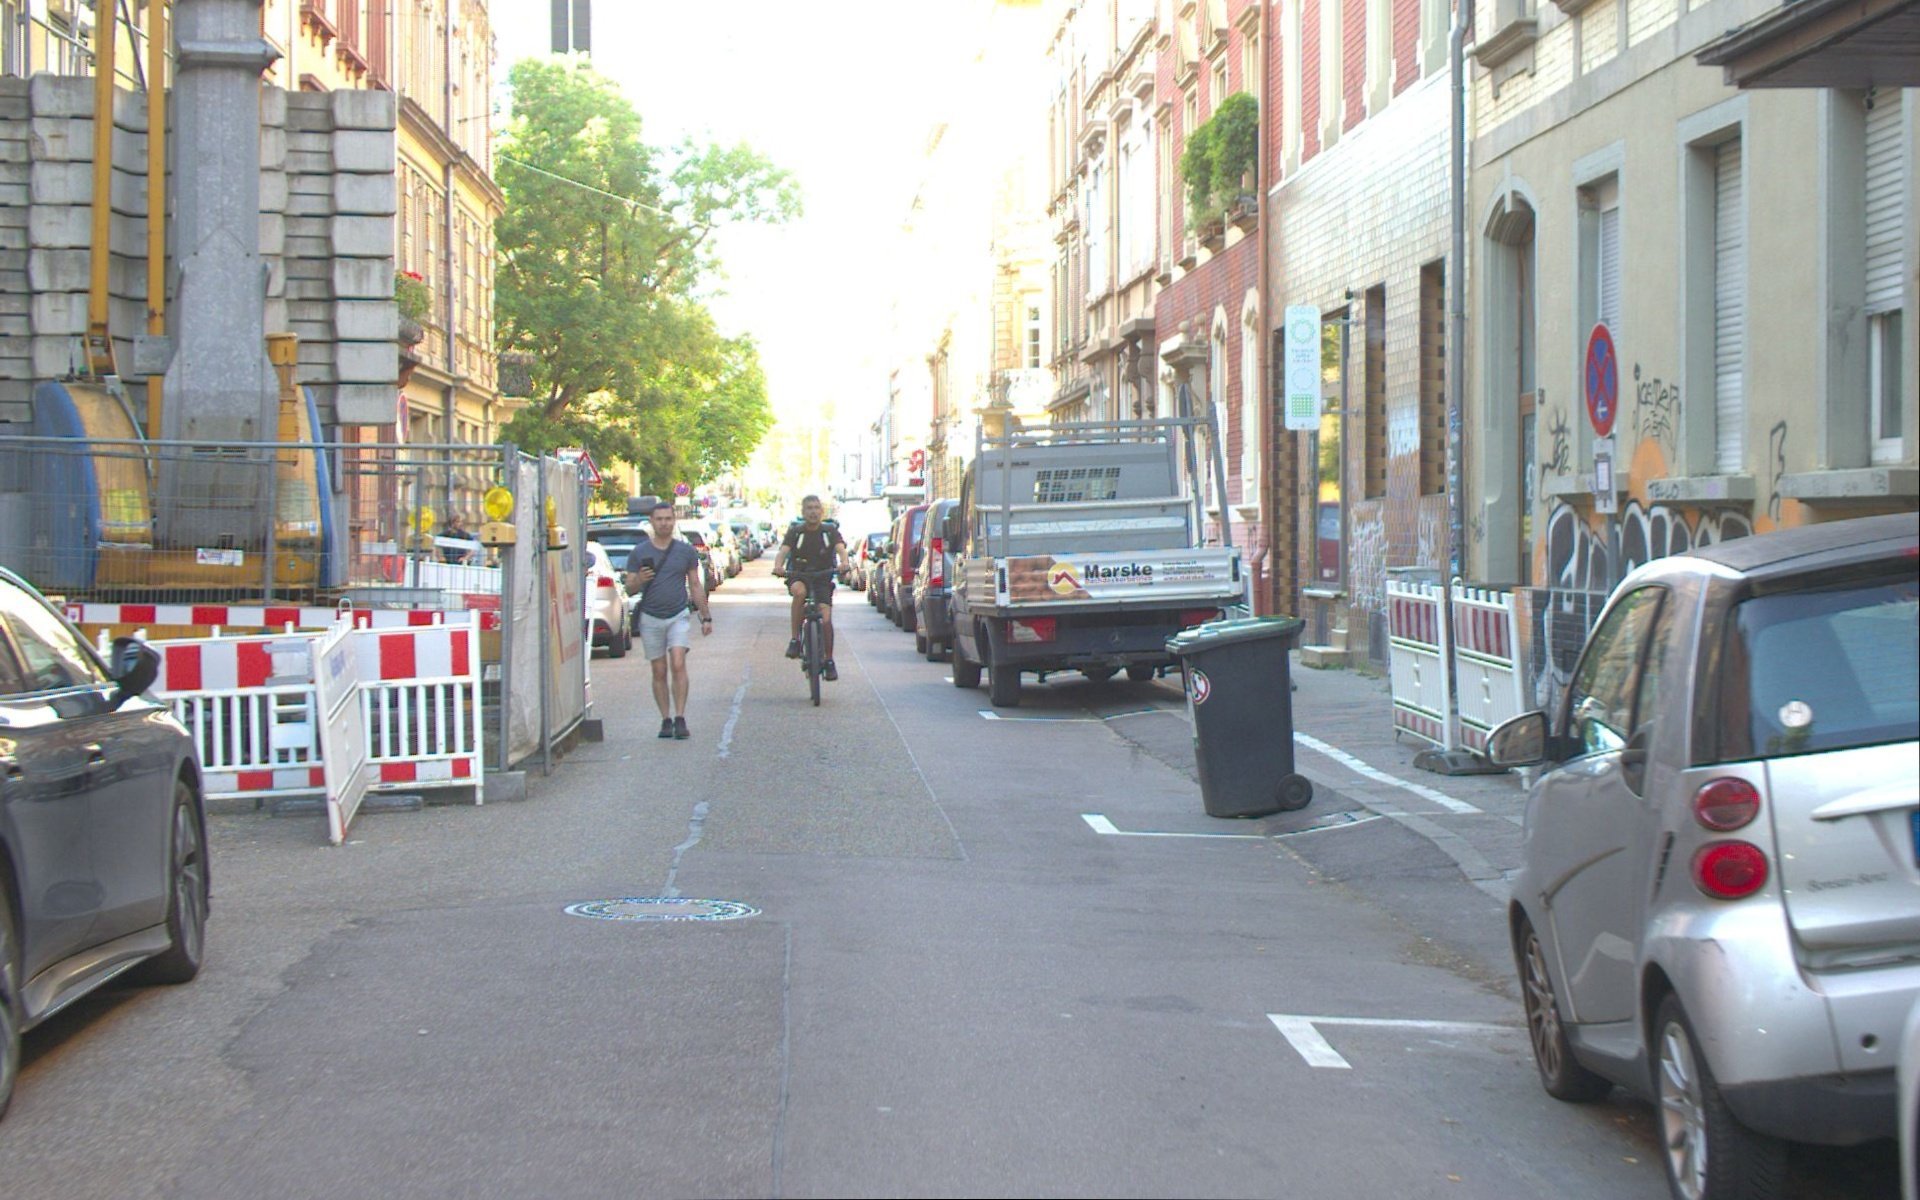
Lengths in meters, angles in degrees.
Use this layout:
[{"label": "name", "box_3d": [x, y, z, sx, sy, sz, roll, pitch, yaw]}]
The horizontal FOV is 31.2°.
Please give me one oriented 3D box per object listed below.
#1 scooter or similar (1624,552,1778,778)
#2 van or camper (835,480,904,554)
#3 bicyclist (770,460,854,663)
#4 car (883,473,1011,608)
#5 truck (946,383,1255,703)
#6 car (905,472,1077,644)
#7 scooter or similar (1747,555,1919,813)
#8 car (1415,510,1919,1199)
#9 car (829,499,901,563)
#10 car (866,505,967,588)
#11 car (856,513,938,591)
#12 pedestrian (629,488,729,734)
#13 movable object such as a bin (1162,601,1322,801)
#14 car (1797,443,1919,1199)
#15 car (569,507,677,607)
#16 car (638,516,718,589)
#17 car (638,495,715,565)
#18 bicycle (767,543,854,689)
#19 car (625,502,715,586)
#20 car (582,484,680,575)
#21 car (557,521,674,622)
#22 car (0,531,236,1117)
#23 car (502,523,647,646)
[{"label": "scooter or similar", "box_3d": [4.095, 0.335, 19.079, 0.418, 1.174, 1.495, -3, 1, -3]}, {"label": "van or camper", "box_3d": [-3.199, -2.902, 120.583, 1.993, 2.499, 4.203, -2, 1, -7]}, {"label": "bicyclist", "box_3d": [-1.299, -0.345, 30.176, 0.730, 1.755, 0.835, 0, 2, -3]}, {"label": "car", "box_3d": [-0.238, -0.939, 54.107, 1.674, 2.024, 3.870, -1, 1, -5]}, {"label": "truck", "box_3d": [1.159, -0.541, 31.145, 2.189, 2.598, 5.235, -2, 1, -4]}, {"label": "car", "box_3d": [0.327, -0.527, 41.628, 1.674, 1.956, 4.110, -1, 1, -5]}, {"label": "scooter or similar", "box_3d": [4.302, 0.384, 16.886, 0.418, 1.174, 1.495, -3, 1, -3]}, {"label": "car", "box_3d": [2.304, 0.549, 9.163, 1.596, 1.555, 3.814, -1, 1, -1]}, {"label": "car", "box_3d": [-2.907, -2.118, 104.997, 1.993, 1.842, 4.001, -2, 1, -4]}, {"label": "car", "box_3d": [-0.886, -1.064, 67.580, 1.674, 1.565, 3.870, -1, 1, -5]}, {"label": "car", "box_3d": [-1.712, -1.317, 92.008, 1.993, 2.007, 4.001, -1, 2, -4]}, {"label": "pedestrian", "box_3d": [-2.009, 0.071, 24.660, 0.657, 1.727, 0.720, -1, 1, -3]}, {"label": "movable object such as a bin", "box_3d": [1.543, 0.547, 18.894, 0.795, 1.052, 0.660, -1, 1, -2]}, {"label": "car", "box_3d": [2.403, 0.609, 3.853, 1.746, 1.670, 4.341, -1, 1, -2]}, {"label": "car", "box_3d": [-5.538, -0.728, 56.773, 1.674, 1.565, 3.870, -1, 1, -5]}, {"label": "car", "box_3d": [-7.366, -1.271, 90.194, 1.993, 1.842, 4.001, -1, 2, -4]}, {"label": "car", "box_3d": [-7.844, -1.943, 95.419, 1.993, 1.842, 4.001, -2, 1, -4]}, {"label": "bicycle", "box_3d": [-1.310, 0.120, 30.164, 0.724, 1.182, 2.043, 0, 2, -2]}, {"label": "car", "box_3d": [-5.675, -1.111, 67.248, 1.674, 1.565, 3.870, -1, 1, -5]}, {"label": "car", "box_3d": [-5.909, -1.266, 62.037, 1.674, 1.565, 3.870, -1, 1, -5]}, {"label": "car", "box_3d": [-5.166, -0.456, 51.898, 1.674, 1.440, 3.870, -1, 1, -5]}, {"label": "car", "box_3d": [-3.335, 0.552, 9.992, 1.674, 1.472, 4.608, -1, 1, -3]}, {"label": "car", "box_3d": [-4.789, -0.229, 43.091, 1.674, 1.440, 3.870, -1, 1, -5]}]
